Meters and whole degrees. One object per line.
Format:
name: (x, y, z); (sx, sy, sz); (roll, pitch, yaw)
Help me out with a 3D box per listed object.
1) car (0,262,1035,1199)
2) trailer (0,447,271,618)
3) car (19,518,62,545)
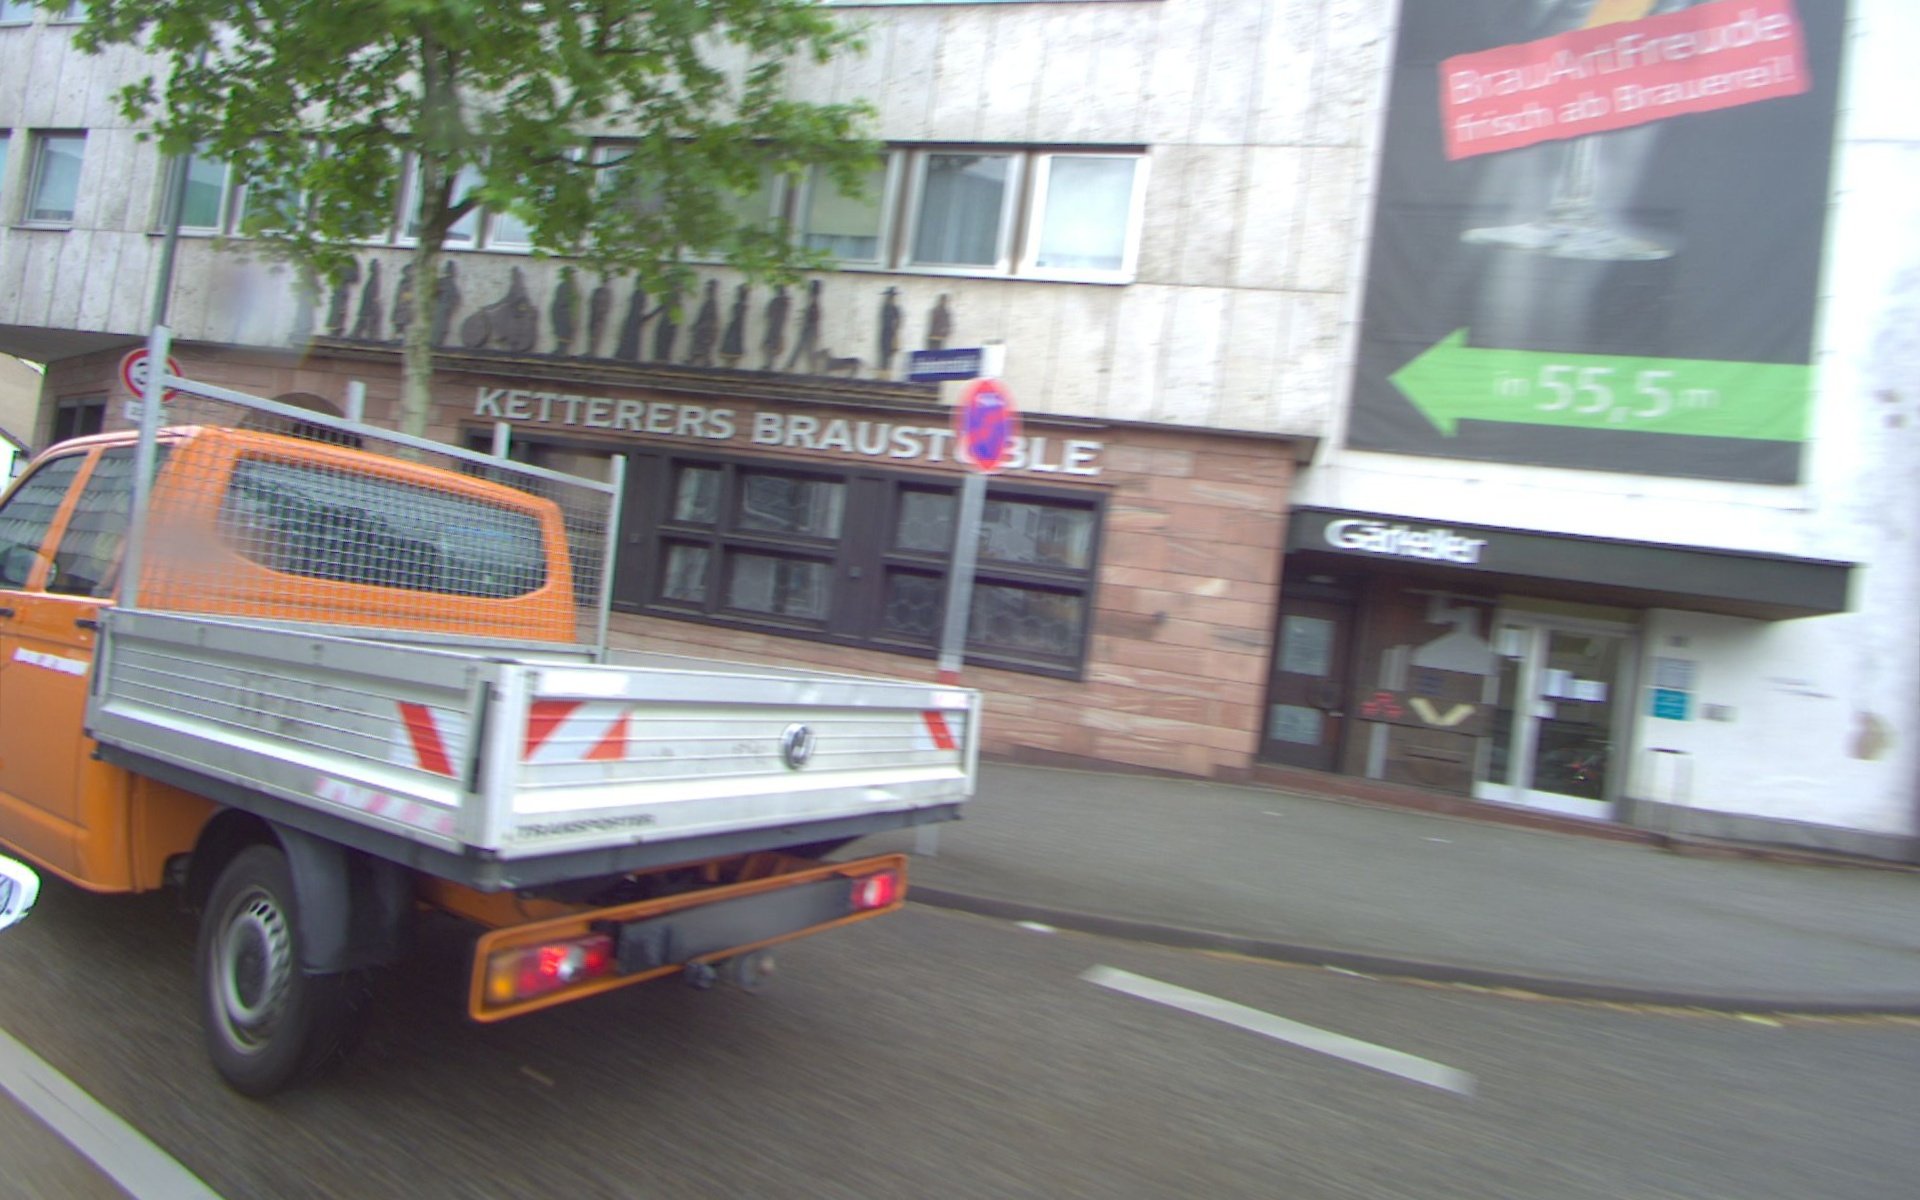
car: (-2.665, 0.246, 4.331); (5.452, 2.114, 2.104); (6, -1, 33)
trailer: (-19.928, -1.574, 23.669); (5.607, 3.213, 2.640); (7, -2, 10)
car: (-60.396, -4.500, 66.050); (3.219, 1.473, 1.589); (5, -3, 41)
